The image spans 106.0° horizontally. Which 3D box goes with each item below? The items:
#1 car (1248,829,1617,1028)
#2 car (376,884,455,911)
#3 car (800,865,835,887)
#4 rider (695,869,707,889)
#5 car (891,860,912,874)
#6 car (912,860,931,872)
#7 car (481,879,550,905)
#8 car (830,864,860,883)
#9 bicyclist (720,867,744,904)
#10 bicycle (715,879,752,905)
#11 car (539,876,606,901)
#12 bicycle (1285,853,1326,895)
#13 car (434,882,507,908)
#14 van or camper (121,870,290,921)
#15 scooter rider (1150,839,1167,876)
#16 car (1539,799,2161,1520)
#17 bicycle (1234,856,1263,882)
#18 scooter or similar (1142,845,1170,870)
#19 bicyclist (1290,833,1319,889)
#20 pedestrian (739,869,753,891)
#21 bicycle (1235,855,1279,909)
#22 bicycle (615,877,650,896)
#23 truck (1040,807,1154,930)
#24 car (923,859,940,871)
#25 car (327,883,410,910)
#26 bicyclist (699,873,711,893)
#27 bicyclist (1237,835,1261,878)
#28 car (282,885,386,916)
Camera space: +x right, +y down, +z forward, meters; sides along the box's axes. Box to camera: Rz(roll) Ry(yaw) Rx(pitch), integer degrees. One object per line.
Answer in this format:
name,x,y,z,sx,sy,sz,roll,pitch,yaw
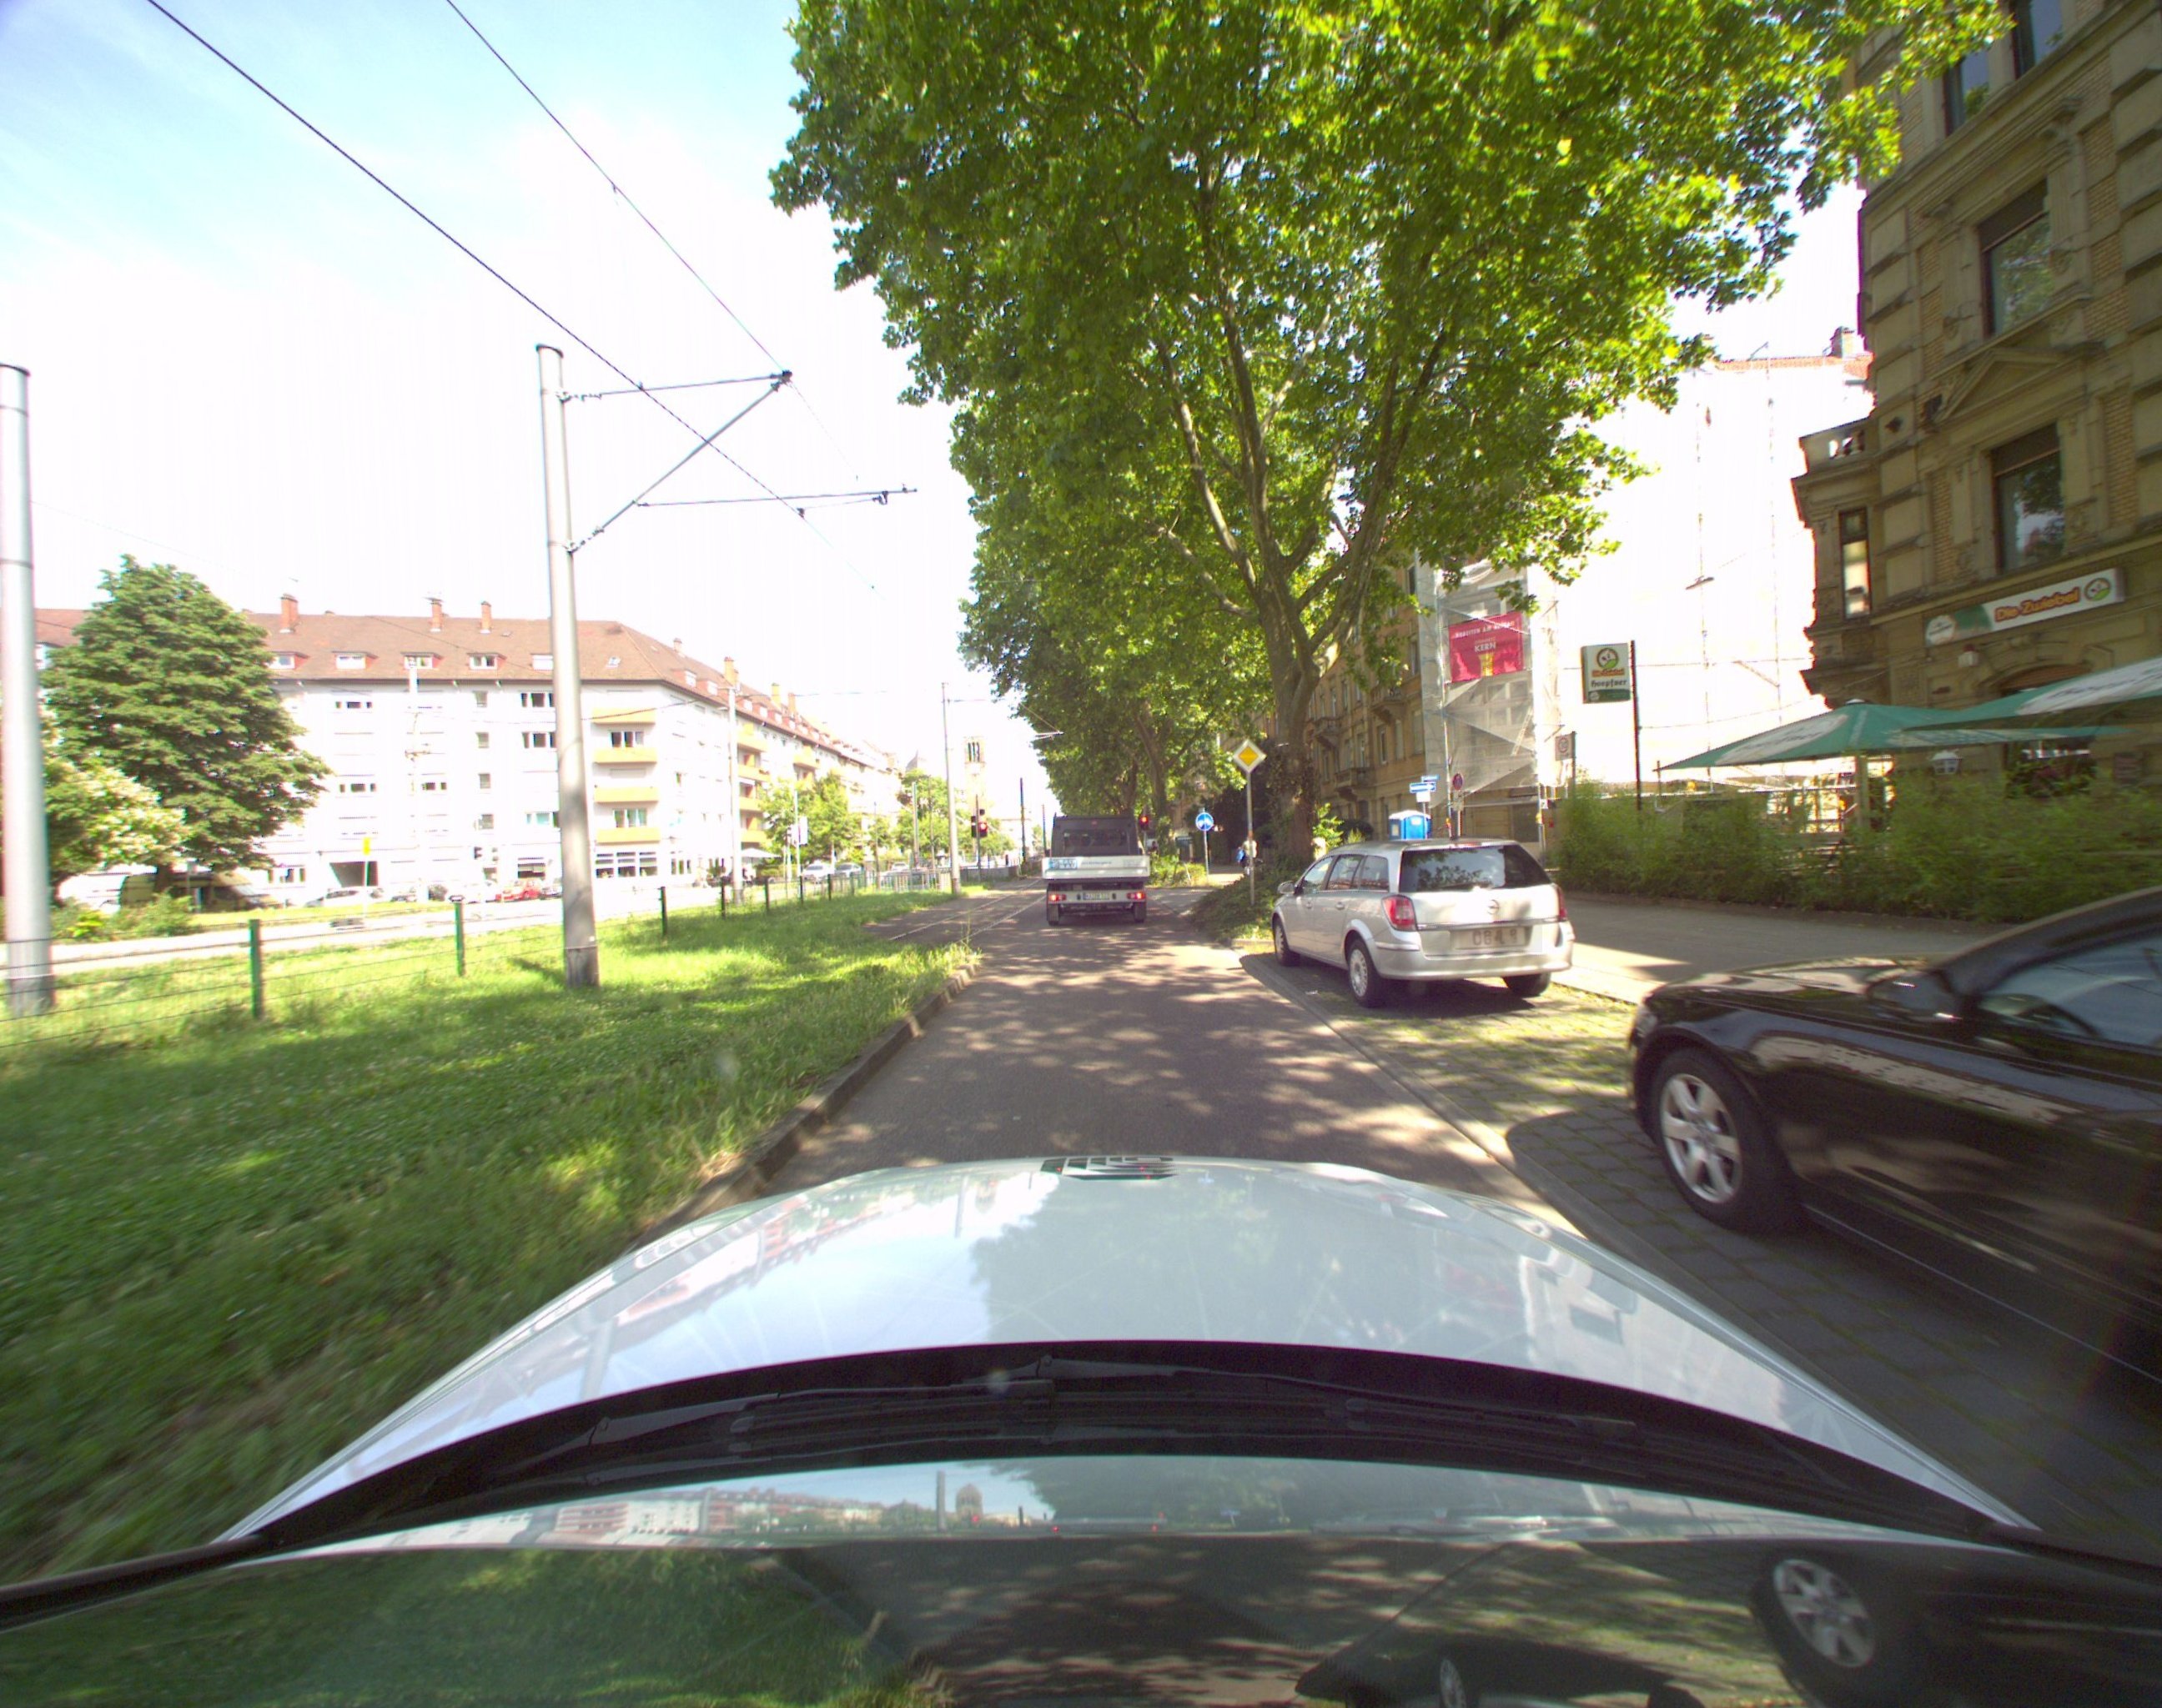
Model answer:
car,3.332,0.602,8.860,1.829,1.508,4.486,-3,0,-3
car,-42.205,2.743,51.761,1.931,1.406,4.156,-3,0,-7
car,-21.245,1.737,65.713,1.768,1.498,3.992,-4,0,-5
rider,-27.147,1.784,58.201,0.624,1.423,0.587,-2,0,-17
car,-21.129,1.541,95.933,1.768,1.498,3.992,-3,0,-5
car,-21.339,1.548,109.296,1.765,1.498,3.998,-3,0,-1
car,-36.906,2.436,53.277,1.931,1.406,4.156,-3,0,-7
car,-21.437,1.750,74.188,1.768,1.498,3.992,-4,0,-5
bicyclist,-15.679,1.412,36.587,0.619,1.623,0.696,-3,0,8
bicycle,-15.636,1.715,36.681,0.528,1.049,1.931,-4,0,9
car,-33.564,2.279,53.941,1.831,1.376,4.634,-3,0,-5
bicycle,6.468,0.551,23.573,0.563,1.112,2.311,-3,0,1
car,-39.684,2.647,53.033,1.931,1.406,4.156,-3,0,-7
van or camper,-46.686,2.156,43.594,5.764,2.329,2.235,-3,0,-13
scooter rider,3.982,0.181,41.901,0.662,1.867,0.667,-3,0,16
car,3.144,0.598,1.640,1.827,1.508,4.644,-3,0,1
bicycle,6.314,0.552,30.711,0.672,0.881,2.164,-3,0,2
scooter or similar,3.879,0.171,41.938,1.257,1.204,0.660,-3,0,16
bicyclist,6.450,0.193,23.542,0.635,1.573,0.580,-3,0,1
pedestrian,-24.667,1.908,59.987,0.861,1.572,0.685,-3,0,-24
bicycle,3.917,0.602,18.009,0.417,1.105,1.627,-3,0,30
bicycle,-30.539,2.209,55.487,0.909,1.137,2.805,-3,0,-3
truck,0.353,0.266,17.752,2.131,2.319,4.402,-1,0,1
car,-21.468,1.551,117.132,1.765,1.498,3.998,-3,0,-1
car,-44.982,2.654,51.534,1.931,1.406,4.156,-3,0,-7
bicyclist,-26.675,2.046,57.734,0.624,1.423,0.587,-2,0,-17
bicyclist,6.281,0.105,30.533,0.678,1.563,0.777,-3,0,1
car,-41.057,2.543,44.863,3.750,1.406,1.823,-3,0,-17
